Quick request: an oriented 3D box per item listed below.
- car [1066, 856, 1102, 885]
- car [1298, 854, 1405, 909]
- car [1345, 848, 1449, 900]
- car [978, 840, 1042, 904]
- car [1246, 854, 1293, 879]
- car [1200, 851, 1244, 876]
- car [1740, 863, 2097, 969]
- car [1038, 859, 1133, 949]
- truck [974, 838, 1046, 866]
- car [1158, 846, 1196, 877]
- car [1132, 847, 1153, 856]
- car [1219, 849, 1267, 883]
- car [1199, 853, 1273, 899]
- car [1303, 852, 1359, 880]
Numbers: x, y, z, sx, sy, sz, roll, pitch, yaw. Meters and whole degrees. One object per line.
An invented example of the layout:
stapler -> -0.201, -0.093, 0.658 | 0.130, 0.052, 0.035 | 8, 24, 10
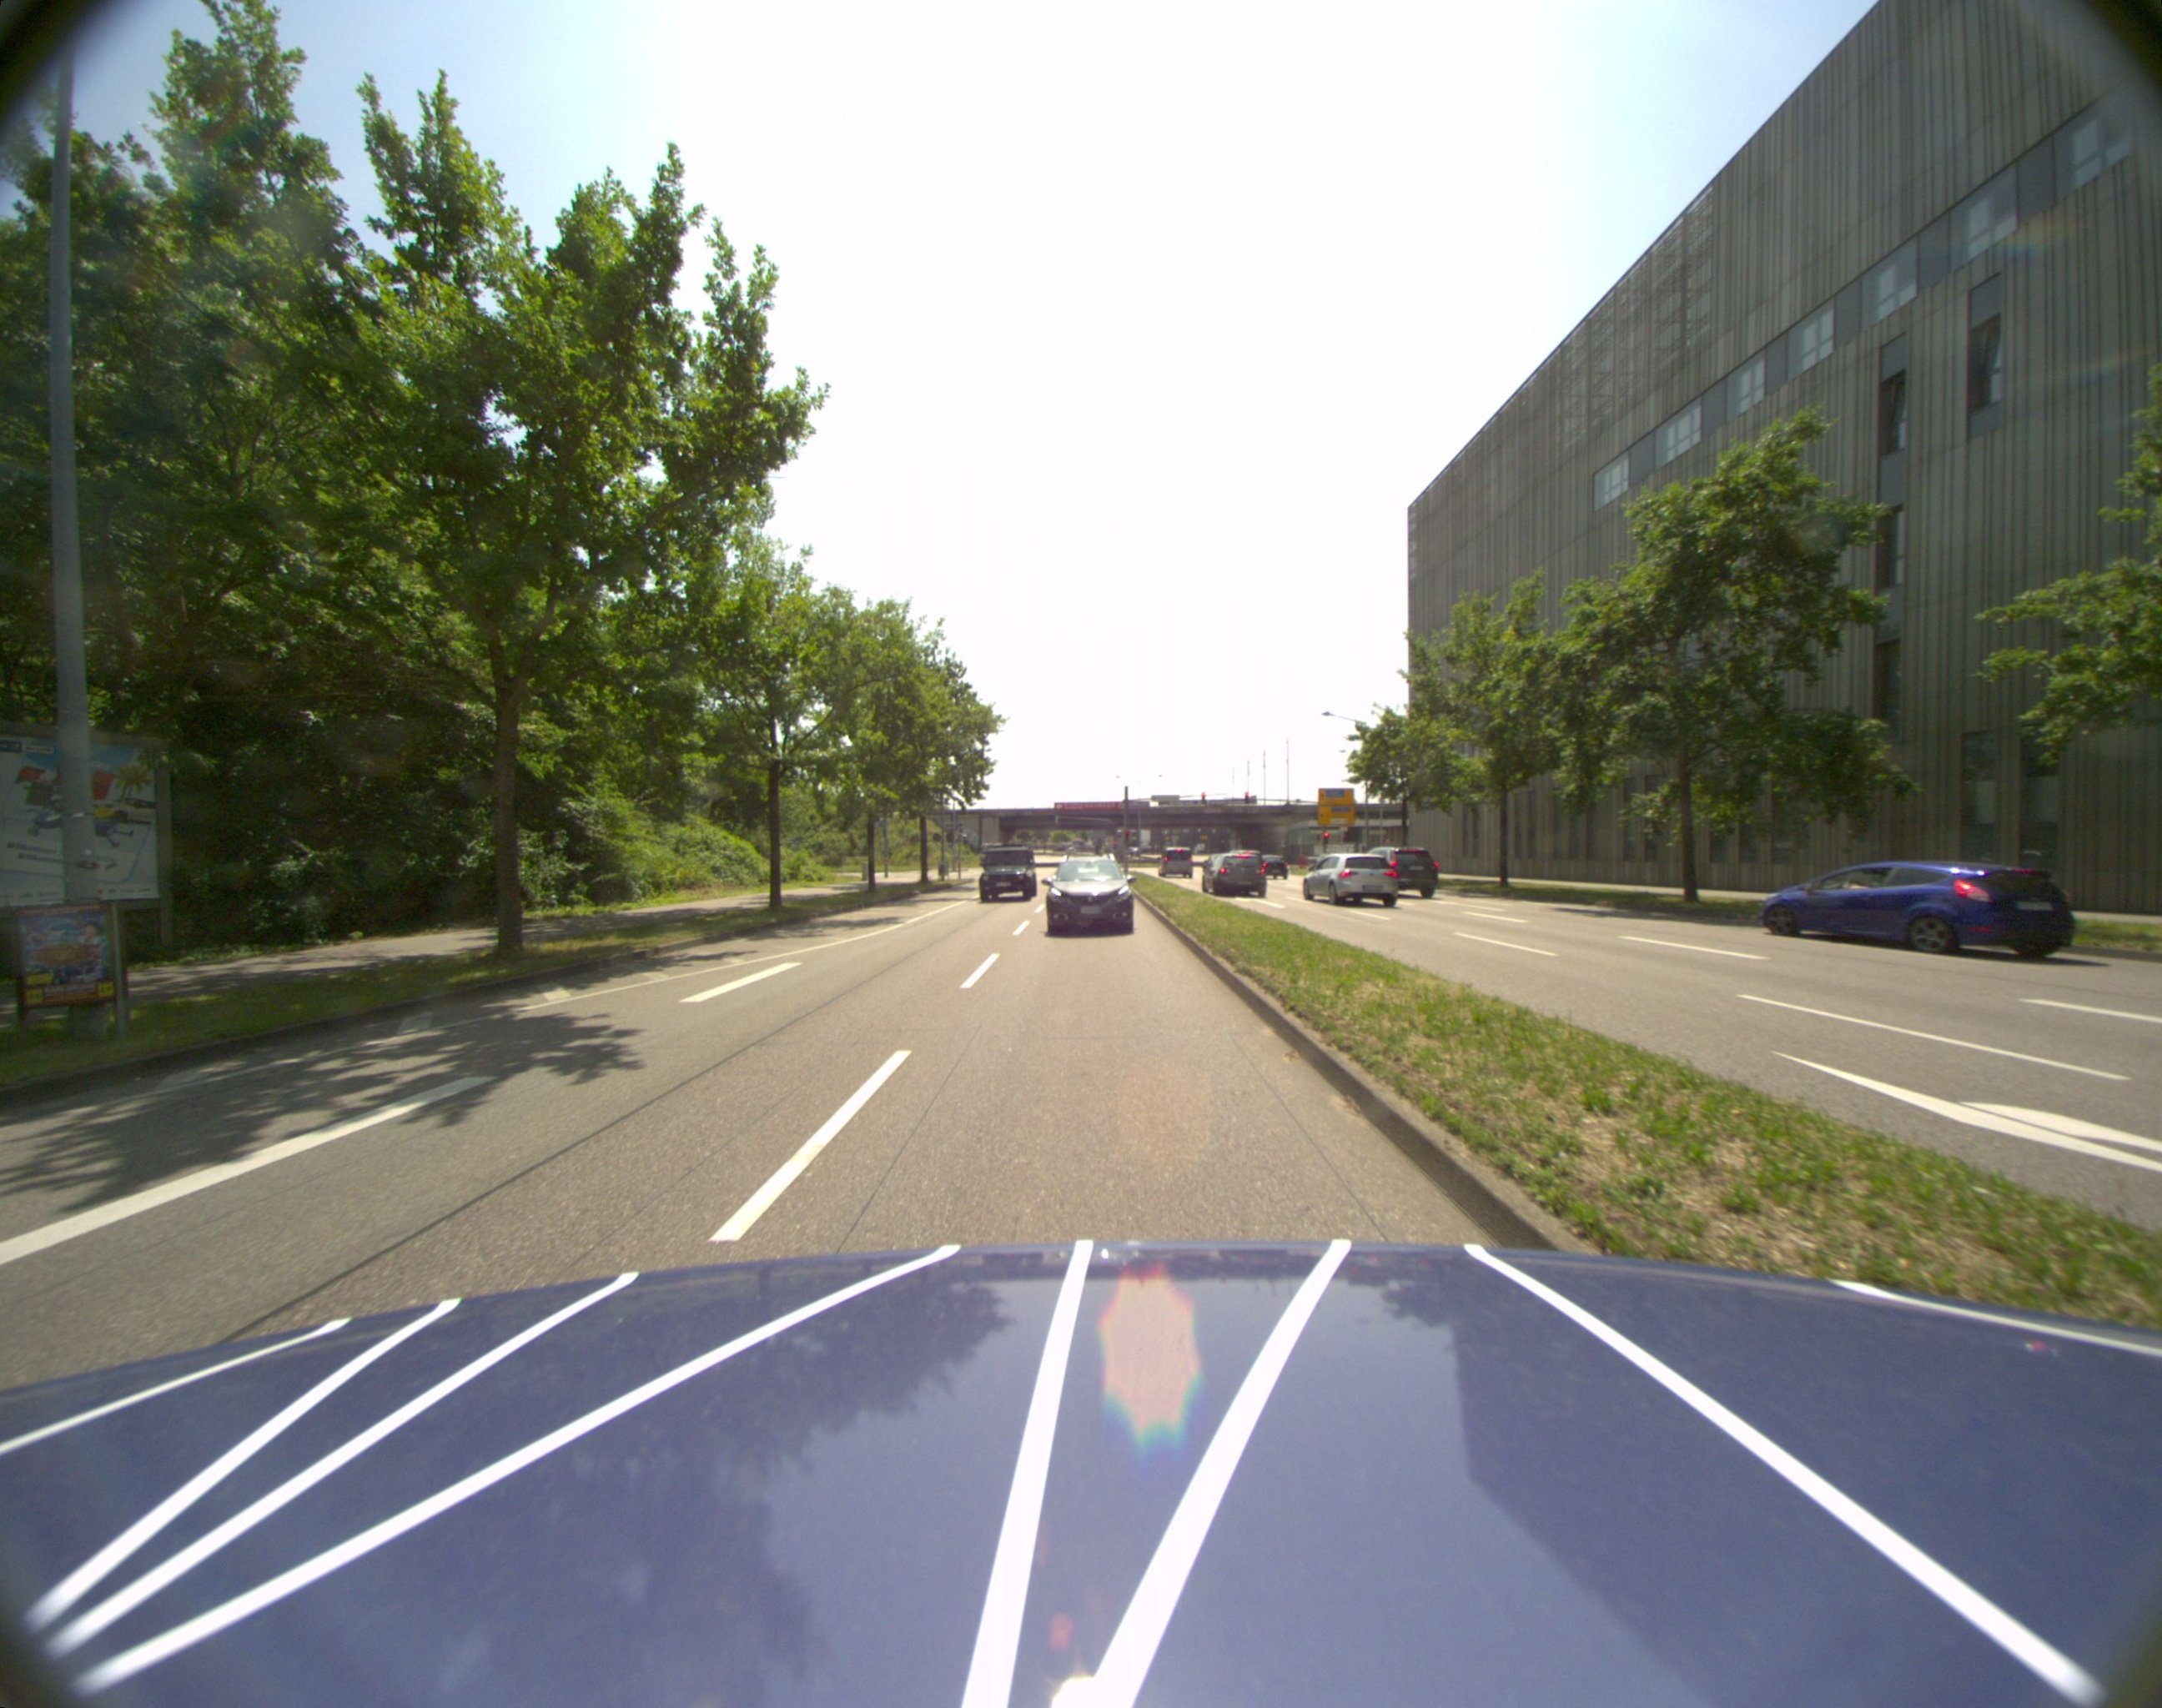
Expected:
car -> 0.098, 0.839, 40.411 | 1.817, 1.456, 3.999 | -1, 1, -1
car -> 7.908, 0.746, 22.603 | 1.770, 1.452, 4.145 | 1, 0, 1
car -> 11.438, 0.650, 27.899 | 1.815, 1.736, 4.645 | 1, 0, -1
car -> -2.514, 0.576, 28.052 | 1.841, 2.141, 4.557 | -1, 1, 1
car -> 11.656, 0.750, 47.244 | 1.815, 1.409, 4.250 | 0, 0, -1
car -> 8.603, 0.560, 46.731 | 1.815, 1.437, 4.249 | 0, 0, -1
car -> 13.790, 0.922, 12.943 | 1.625, 1.447, 4.017 | 0, 0, 0
car -> 0.206, 0.873, 15.205 | 1.619, 1.503, 4.459 | -1, 0, 3
truck -> -7.741, -0.287, 84.204 | 2.879, 2.899, 8.533 | -1, 1, 36
car -> 5.871, 0.443, 46.844 | 1.814, 1.790, 4.714 | 1, 0, 2
car -> 12.491, -0.466, 153.982 | 3.991, 1.674, 2.003 | 0, 1, 18
car -> 8.446, 0.591, 39.978 | 1.806, 1.653, 4.573 | 0, 0, 3
car -> 5.368, 0.701, 26.768 | 1.815, 1.458, 4.057 | 1, 0, 1
car -> 14.599, 0.663, 44.543 | 1.815, 1.534, 4.370 | 1, 0, 0
